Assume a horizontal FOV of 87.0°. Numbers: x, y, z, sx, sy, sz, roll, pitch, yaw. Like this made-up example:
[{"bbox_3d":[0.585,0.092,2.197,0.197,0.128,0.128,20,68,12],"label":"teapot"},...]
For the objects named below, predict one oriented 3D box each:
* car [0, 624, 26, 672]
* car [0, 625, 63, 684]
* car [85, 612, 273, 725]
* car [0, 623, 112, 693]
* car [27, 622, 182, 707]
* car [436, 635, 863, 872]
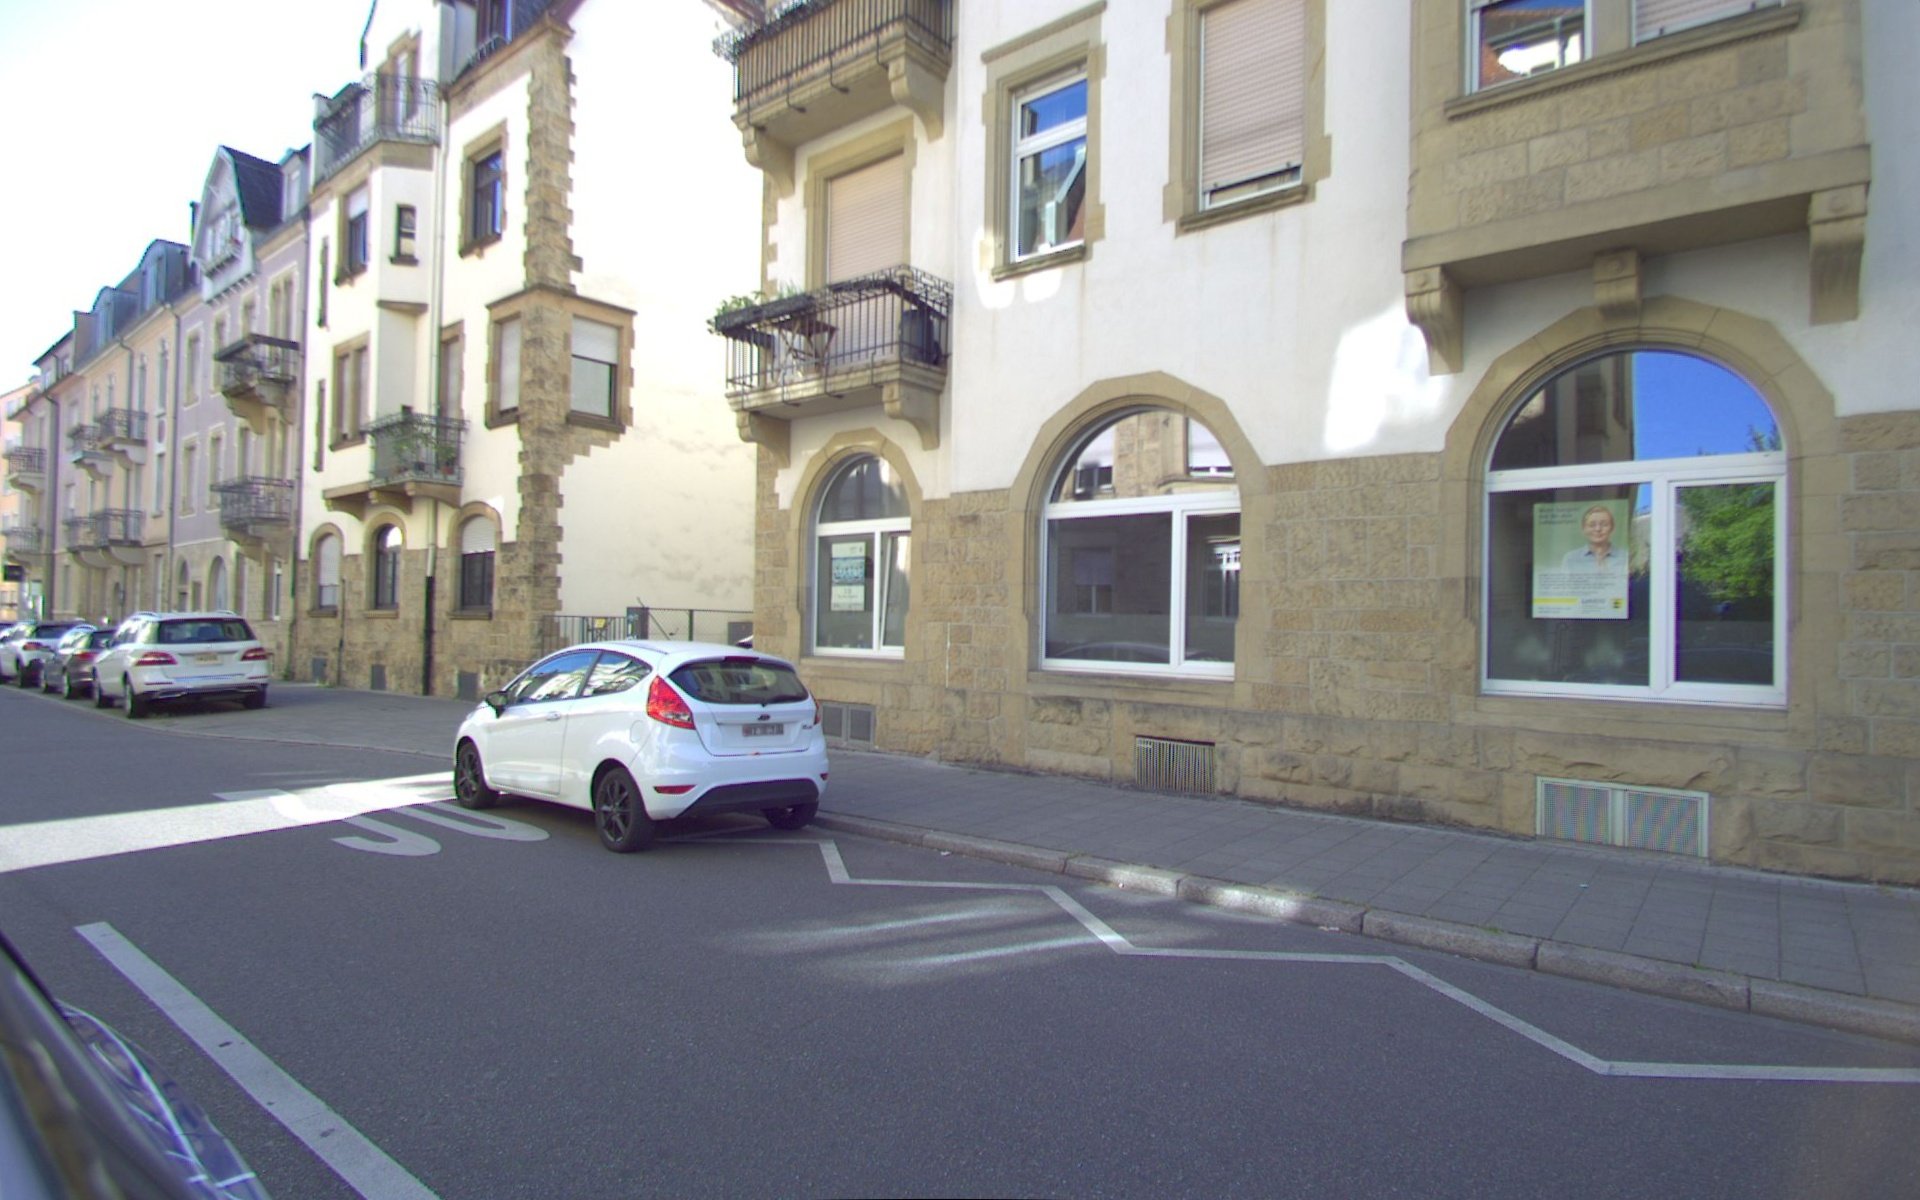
[{"bbox_3d":[-33.144,1.608,34.223,4.319,1.520,1.866,-1,0,41],"label":"car"},{"bbox_3d":[-27.160,1.518,28.875,4.317,1.511,1.833,-1,0,41],"label":"car"},{"bbox_3d":[-13.956,1.100,18.001,4.209,1.740,1.866,-1,0,41],"label":"car"},{"bbox_3d":[-22.952,1.384,25.436,4.319,1.520,1.866,-1,0,41],"label":"car"},{"bbox_3d":[-18.448,1.291,21.754,4.319,1.519,1.866,-1,2,41],"label":"car"},{"bbox_3d":[-2.626,1.046,8.169,3.642,1.469,1.634,-2,-5,42],"label":"car"}]
